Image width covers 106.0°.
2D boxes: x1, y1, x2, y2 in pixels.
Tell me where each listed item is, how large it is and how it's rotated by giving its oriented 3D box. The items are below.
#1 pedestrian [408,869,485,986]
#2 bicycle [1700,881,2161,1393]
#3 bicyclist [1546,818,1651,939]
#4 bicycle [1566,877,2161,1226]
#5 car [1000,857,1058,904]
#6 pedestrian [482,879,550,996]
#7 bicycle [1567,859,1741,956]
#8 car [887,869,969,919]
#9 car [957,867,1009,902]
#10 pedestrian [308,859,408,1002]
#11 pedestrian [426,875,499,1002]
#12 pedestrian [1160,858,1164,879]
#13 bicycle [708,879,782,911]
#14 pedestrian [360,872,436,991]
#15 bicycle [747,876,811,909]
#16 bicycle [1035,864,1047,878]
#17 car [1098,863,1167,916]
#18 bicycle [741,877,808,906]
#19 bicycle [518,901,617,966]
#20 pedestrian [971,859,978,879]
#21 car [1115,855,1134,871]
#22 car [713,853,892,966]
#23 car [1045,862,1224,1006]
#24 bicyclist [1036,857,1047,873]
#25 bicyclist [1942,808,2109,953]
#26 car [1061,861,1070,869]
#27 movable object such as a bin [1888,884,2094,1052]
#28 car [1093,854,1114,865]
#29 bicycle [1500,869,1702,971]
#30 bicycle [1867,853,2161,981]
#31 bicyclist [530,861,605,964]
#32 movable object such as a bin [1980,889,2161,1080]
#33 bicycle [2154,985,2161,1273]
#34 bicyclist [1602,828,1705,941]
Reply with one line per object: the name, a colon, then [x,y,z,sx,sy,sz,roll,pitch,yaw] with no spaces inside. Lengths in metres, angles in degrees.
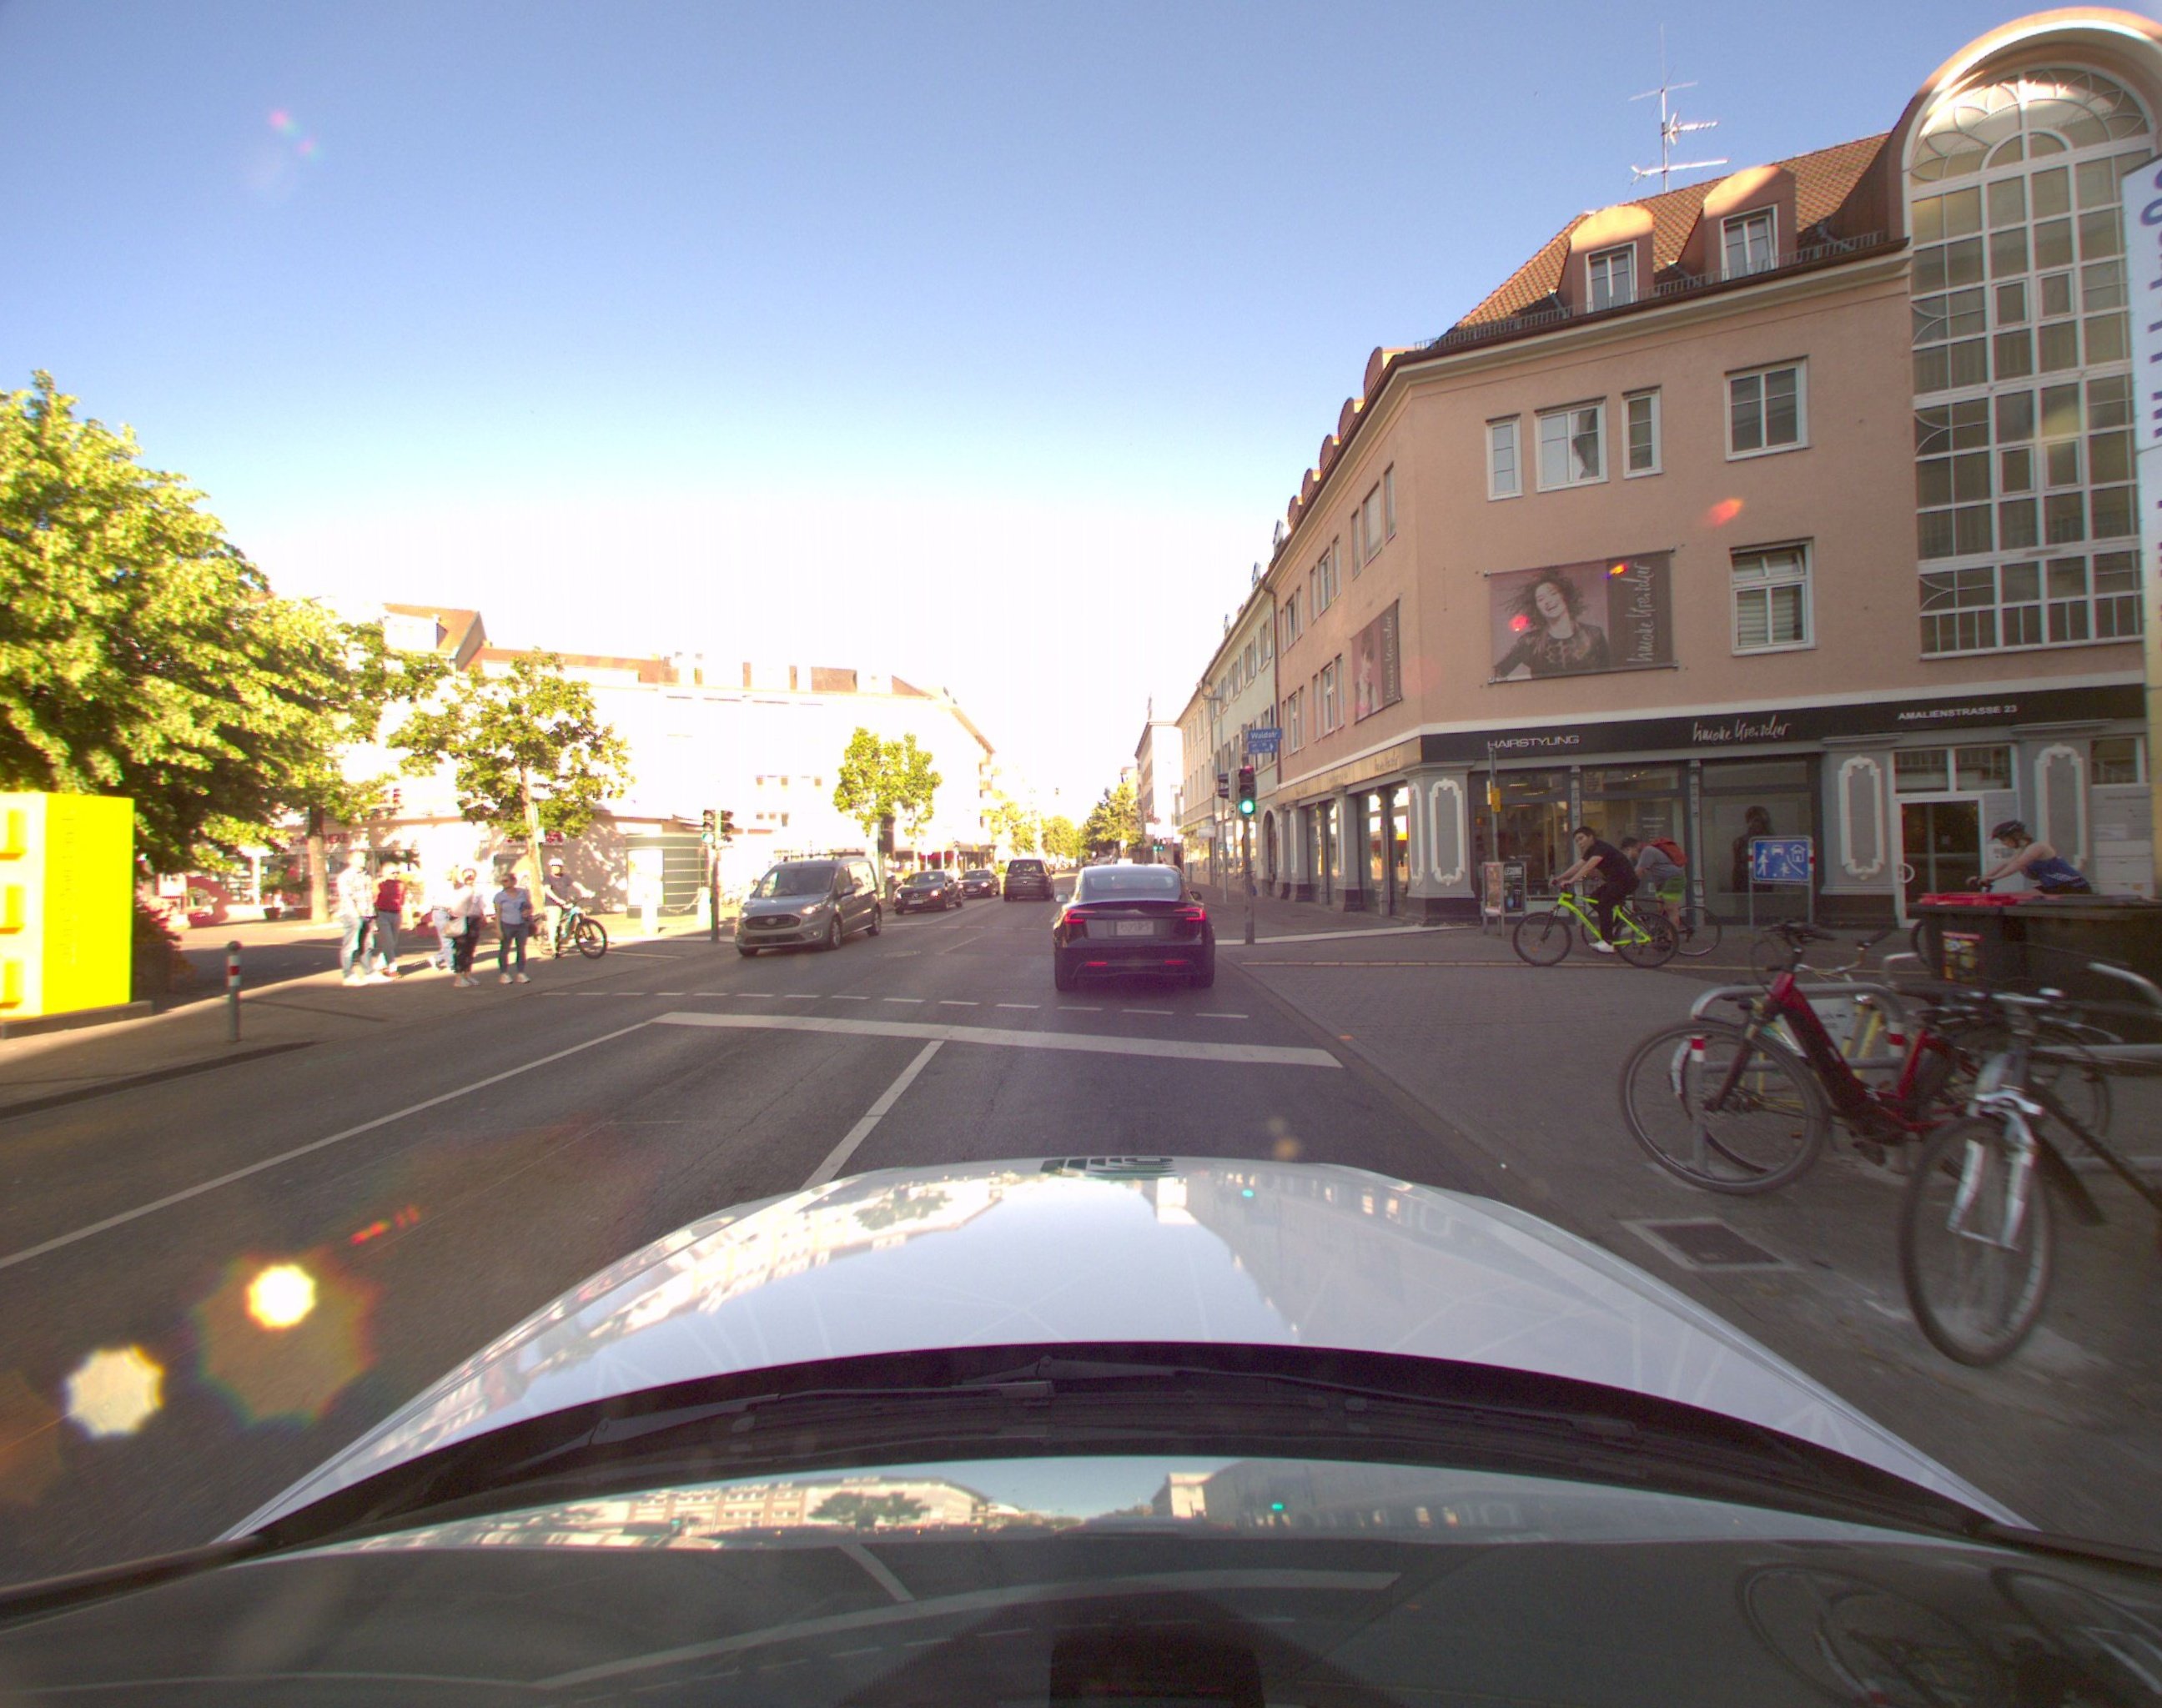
pedestrian: [-10.433,1.175,13.395,0.835,1.827,0.746,-2,-1,33]
bicycle: [3.116,0.761,2.509,1.738,1.267,0.782,-3,-1,4]
bicyclist: [6.348,0.297,10.046,0.915,1.414,0.810,-2,-1,21]
bicycle: [3.307,0.788,3.524,1.851,1.258,0.834,-3,-1,7]
car: [-2.081,1.038,33.926,1.987,1.772,4.728,-2,0,0]
pedestrian: [-8.451,1.212,12.178,0.676,1.662,0.625,-2,-1,36]
bicycle: [7.650,0.698,10.973,1.778,1.222,0.684,-2,-1,20]
car: [-5.373,1.344,29.147,1.988,1.410,4.672,-5,0,-1]
car: [-4.844,1.468,40.856,1.988,1.436,4.672,-5,0,-1]
pedestrian: [-10.310,1.057,11.625,0.823,1.955,0.712,0,0,13]
pedestrian: [-8.848,1.176,11.663,0.541,1.728,0.679,-2,-1,34]
pedestrian: [5.794,1.053,58.316,0.267,1.512,0.278,-1,-1,-3]
bicycle: [-13.058,1.587,31.706,2.497,1.156,0.842,-1,0,0]
pedestrian: [-10.651,1.173,12.705,0.885,1.768,0.657,-2,-1,32]
bicycle: [-13.393,1.697,36.177,2.472,1.324,0.921,-1,-1,-4]
bicycle: [-4.101,1.714,84.496,1.108,1.344,3.998,-1,0,-1]
car: [1.596,1.094,26.497,1.987,1.512,4.175,-1,0,0]
bicycle: [-12.858,1.562,34.235,2.453,1.156,0.842,-1,0,0]
bicycle: [-9.642,1.470,15.272,2.042,1.139,0.541,-2,-1,25]
pedestrian: [-10.409,1.452,79.652,0.573,2.014,0.827,0,-1,-2]
car: [4.778,0.998,89.527,1.986,1.629,4.001,-1,0,2]
car: [-5.432,0.975,16.638,1.828,1.845,4.674,-5,0,1]
car: [0.617,0.859,10.523,1.841,1.455,4.001,-1,0,2]
bicyclist: [-4.127,1.099,84.593,1.123,1.628,0.965,-1,0,-2]
bicyclist: [9.871,0.267,8.561,0.914,1.414,0.811,-2,-1,32]
car: [-3.366,2.340,176.076,1.988,1.637,3.998,-1,0,-1]
movable object such as a bin: [6.351,0.768,5.723,0.730,1.092,0.628,0,-1,3]
car: [4.299,1.044,156.403,3.974,2.013,2.000,-1,0,0]
bicycle: [6.329,0.797,10.053,1.951,1.149,0.795,-2,-1,21]
bicycle: [9.850,0.629,8.569,2.151,1.222,0.685,-2,-1,33]
bicyclist: [-9.574,1.054,15.204,0.941,1.838,0.793,-1,0,25]
movable object such as a bin: [6.344,0.777,5.086,0.749,1.092,0.628,0,-1,3]
bicycle: [3.130,0.823,1.239,1.788,1.124,0.783,-1,0,7]
bicyclist: [7.679,0.401,10.979,0.938,1.449,0.810,-2,-1,21]
